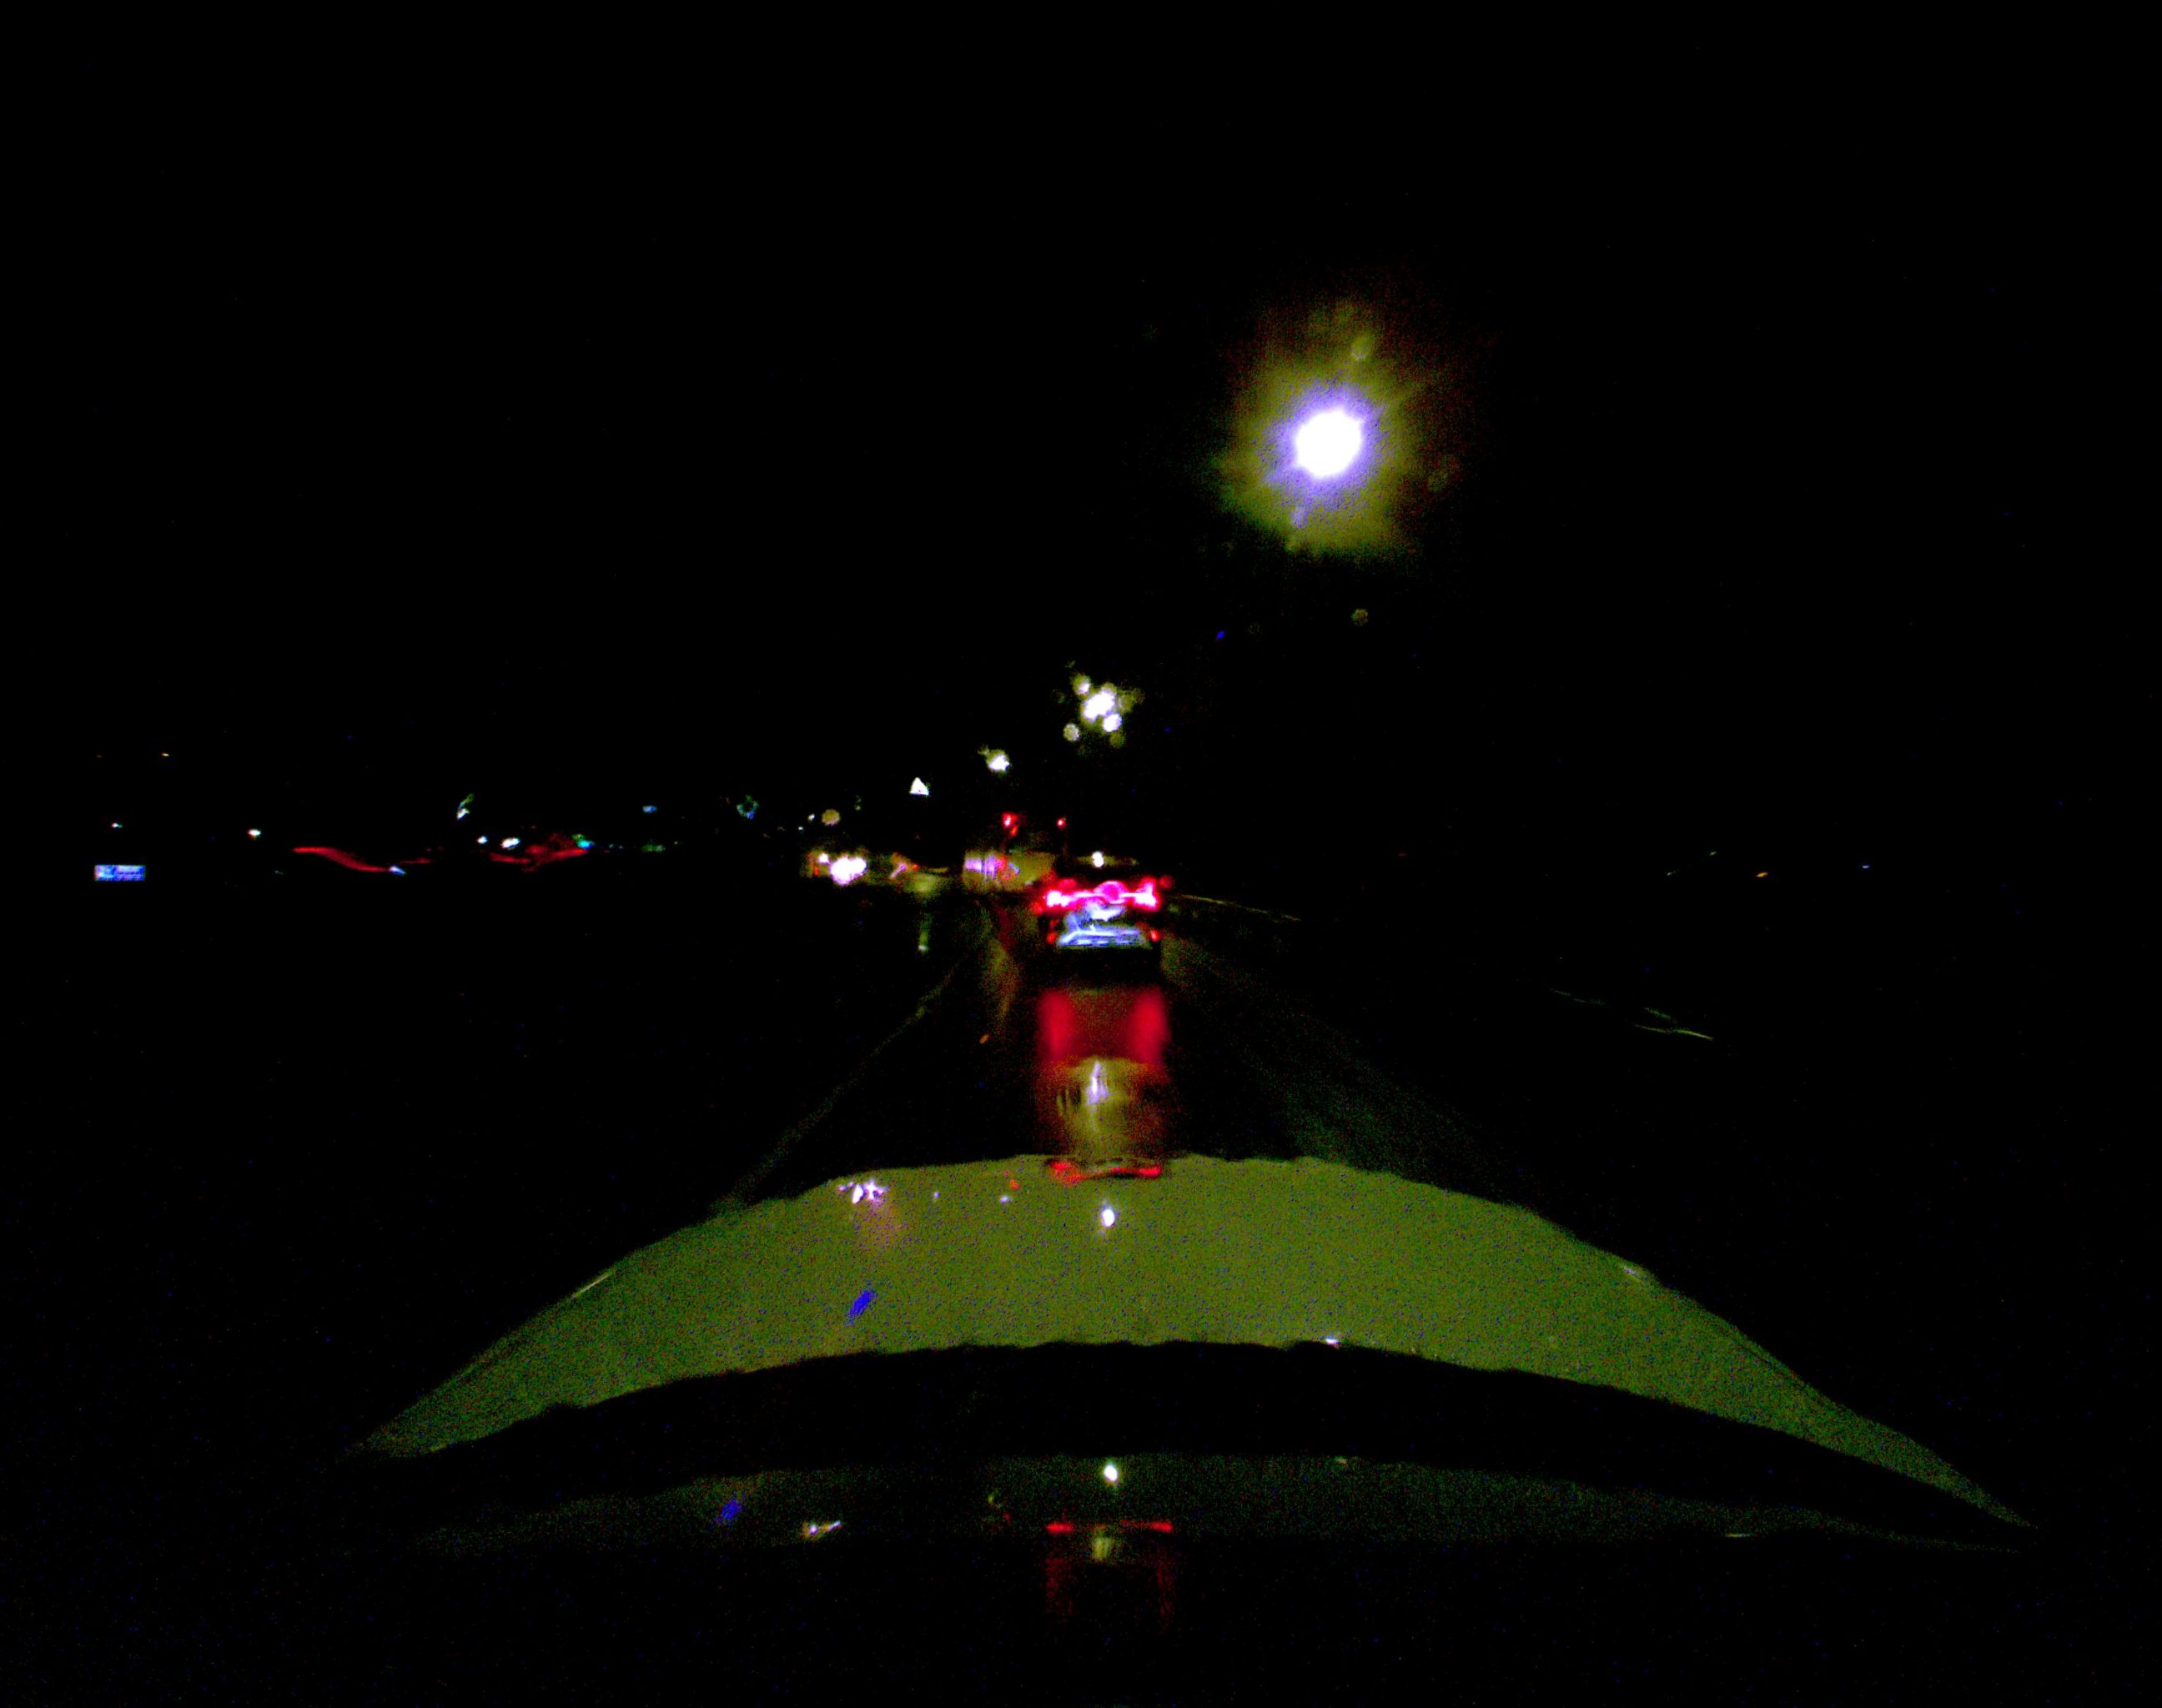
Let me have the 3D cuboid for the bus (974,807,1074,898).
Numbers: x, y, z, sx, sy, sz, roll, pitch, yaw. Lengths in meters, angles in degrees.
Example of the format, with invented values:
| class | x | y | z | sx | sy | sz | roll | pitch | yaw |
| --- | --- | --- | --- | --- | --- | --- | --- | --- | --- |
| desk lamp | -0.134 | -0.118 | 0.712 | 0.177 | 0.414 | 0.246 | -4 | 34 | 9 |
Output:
| class | x | y | z | sx | sy | sz | roll | pitch | yaw |
| --- | --- | --- | --- | --- | --- | --- | --- | --- | --- |
| bus | -2.607 | -0.060 | 33.601 | 3.045 | 3.212 | 9.016 | -1 | 0 | -11 |

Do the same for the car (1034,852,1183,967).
| class | x | y | z | sx | sy | sz | roll | pitch | yaw |
| --- | --- | --- | --- | --- | --- | --- | --- | --- | --- |
| car | 0.334 | 0.743 | 12.824 | 1.988 | 1.524 | 3.998 | 0 | 0 | -1 |

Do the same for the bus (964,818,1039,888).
| class | x | y | z | sx | sy | sz | roll | pitch | yaw |
| --- | --- | --- | --- | --- | --- | --- | --- | --- | --- |
| bus | -4.333 | -0.023 | 42.486 | 3.045 | 3.212 | 9.016 | -1 | 0 | -11 |
